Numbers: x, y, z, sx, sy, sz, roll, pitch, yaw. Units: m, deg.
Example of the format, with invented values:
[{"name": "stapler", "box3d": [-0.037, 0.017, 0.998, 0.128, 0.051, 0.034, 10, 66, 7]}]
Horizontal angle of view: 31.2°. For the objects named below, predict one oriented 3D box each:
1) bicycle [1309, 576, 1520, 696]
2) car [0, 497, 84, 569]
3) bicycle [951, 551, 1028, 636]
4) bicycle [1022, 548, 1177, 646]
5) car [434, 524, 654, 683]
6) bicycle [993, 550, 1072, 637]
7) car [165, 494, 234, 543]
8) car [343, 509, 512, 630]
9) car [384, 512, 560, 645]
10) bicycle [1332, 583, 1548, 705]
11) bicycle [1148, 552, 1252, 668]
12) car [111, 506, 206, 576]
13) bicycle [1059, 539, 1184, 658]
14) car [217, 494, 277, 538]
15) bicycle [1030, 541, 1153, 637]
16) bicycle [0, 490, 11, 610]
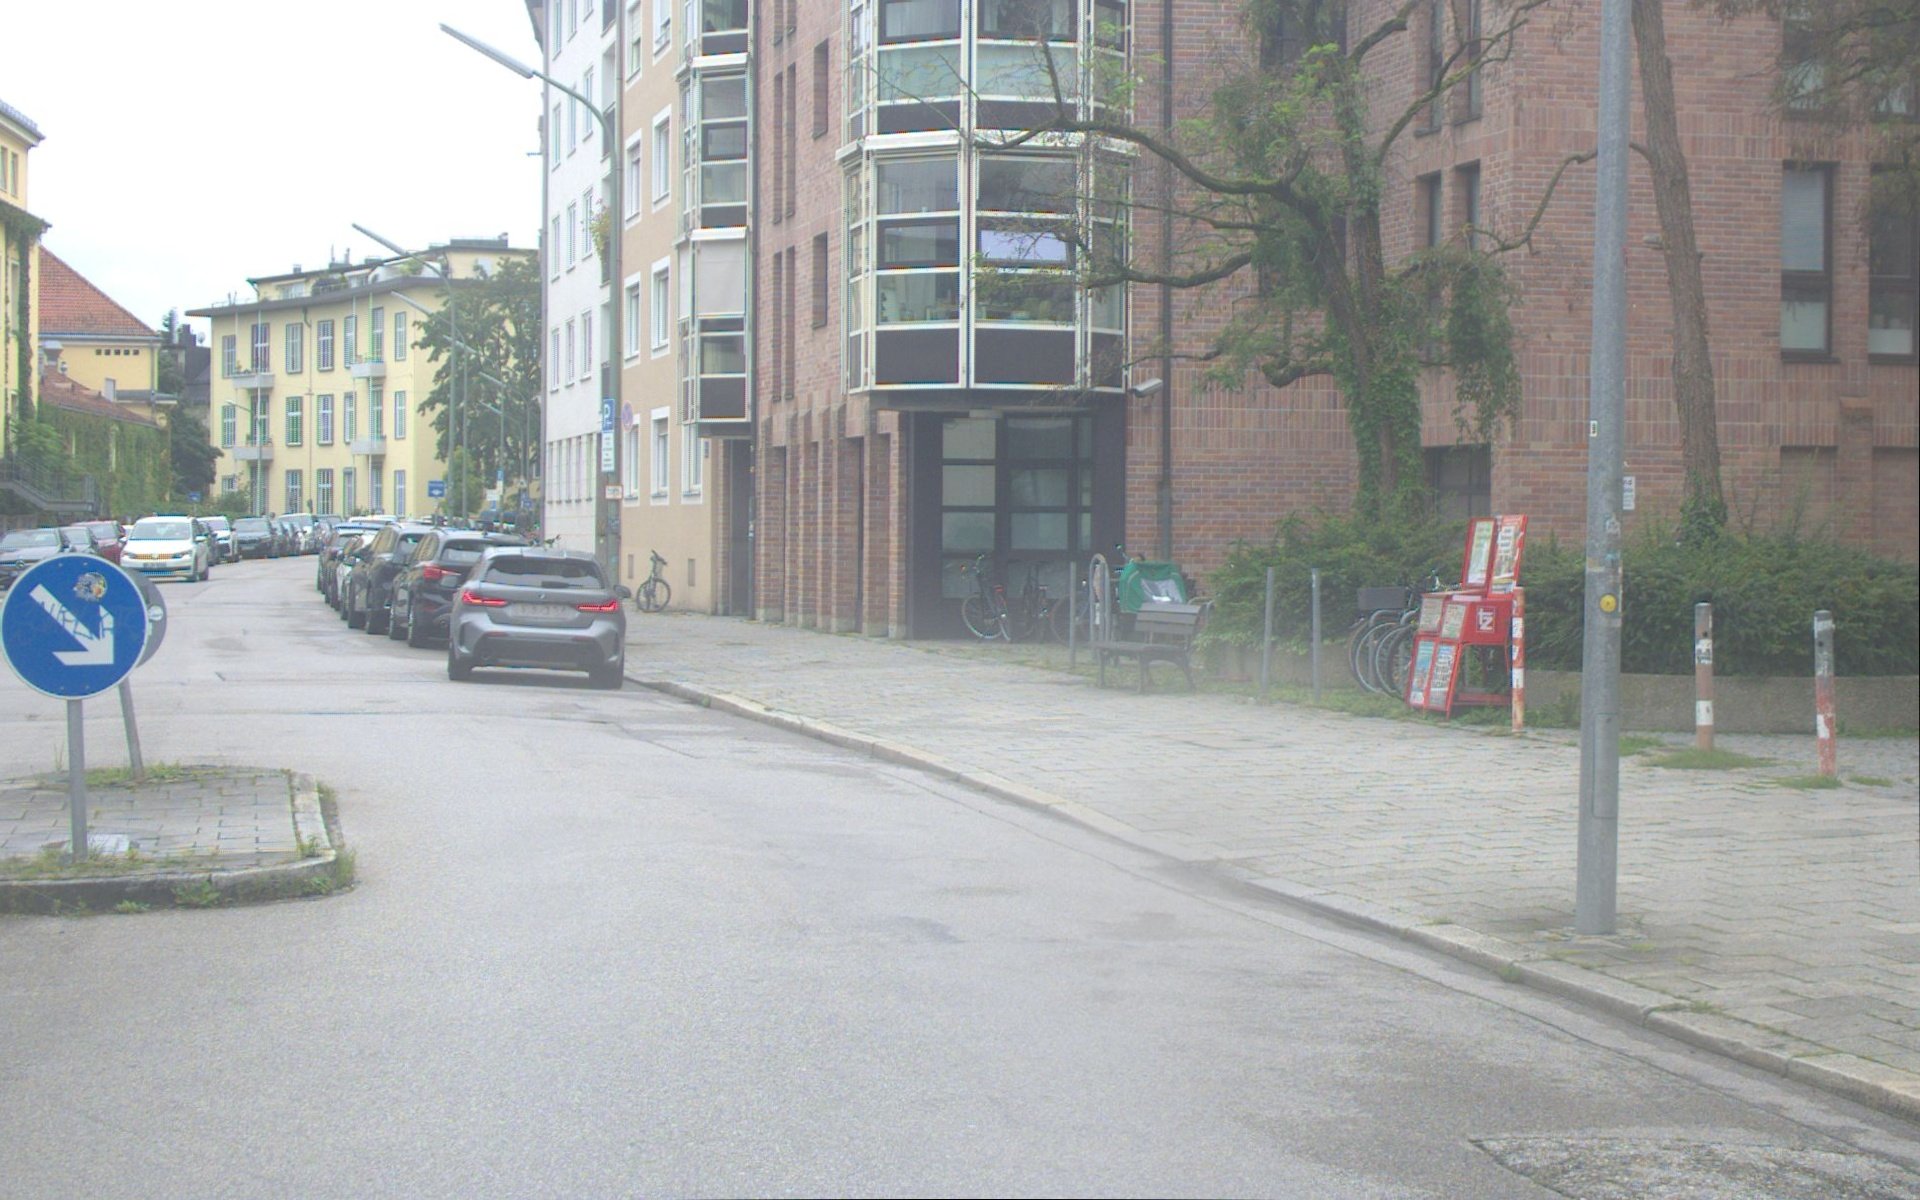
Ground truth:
[{"name": "bicycle", "box3d": [3.956, 0.311, 29.968, 1.700, 0.962, 0.546, 2, 2, -11]}, {"name": "car", "box3d": [-21.817, -1.604, 81.198, 1.772, 1.545, 3.779, 2, 2, -9]}, {"name": "bicycle", "box3d": [0.375, -0.093, 44.733, 0.486, 1.056, 1.996, 2, 0, -14]}, {"name": "bicycle", "box3d": [1.747, -0.041, 43.236, 1.848, 1.143, 0.488, 2, 2, -5]}, {"name": "car", "box3d": [-4.489, -0.010, 36.582, 1.924, 1.507, 4.393, 2, 1, -12]}, {"name": "bicycle", "box3d": [0.939, -0.099, 44.835, 0.486, 1.056, 1.996, 2, 1, -14]}, {"name": "car", "box3d": [-26.343, -2.839, 119.164, 1.993, 1.543, 4.001, 2, 2, -9]}, {"name": "car", "box3d": [-8.089, -0.498, 51.906, 1.963, 1.596, 4.673, 2, 2, -15]}, {"name": "car", "box3d": [-6.722, -0.329, 47.037, 1.829, 1.596, 4.268, 2, 2, -15]}, {"name": "bicycle", "box3d": [4.090, 0.374, 29.346, 1.700, 0.962, 0.546, 2, 2, -11]}, {"name": "bicycle", "box3d": [2.509, 0.093, 35.844, 0.421, 1.169, 1.359, 4, 2, 33]}, {"name": "car", "box3d": [-19.878, -1.445, 85.396, 2.025, 1.616, 4.506, -1, 0, -10]}, {"name": "bicycle", "box3d": [1.749, -0.023, 37.563, 0.534, 1.244, 2.414, 2, 0, -17]}, {"name": "car", "box3d": [-27.474, -3.246, 132.603, 1.993, 1.543, 4.001, 2, 2, -9]}, {"name": "bicycle", "box3d": [1.672, -0.141, 43.686, 1.476, 1.143, 0.383, 2, 2, -5]}, {"name": "bicycle", "box3d": [-16.478, -0.817, 57.275, 0.748, 2.006, 2.848, -2, 2, -6]}]
